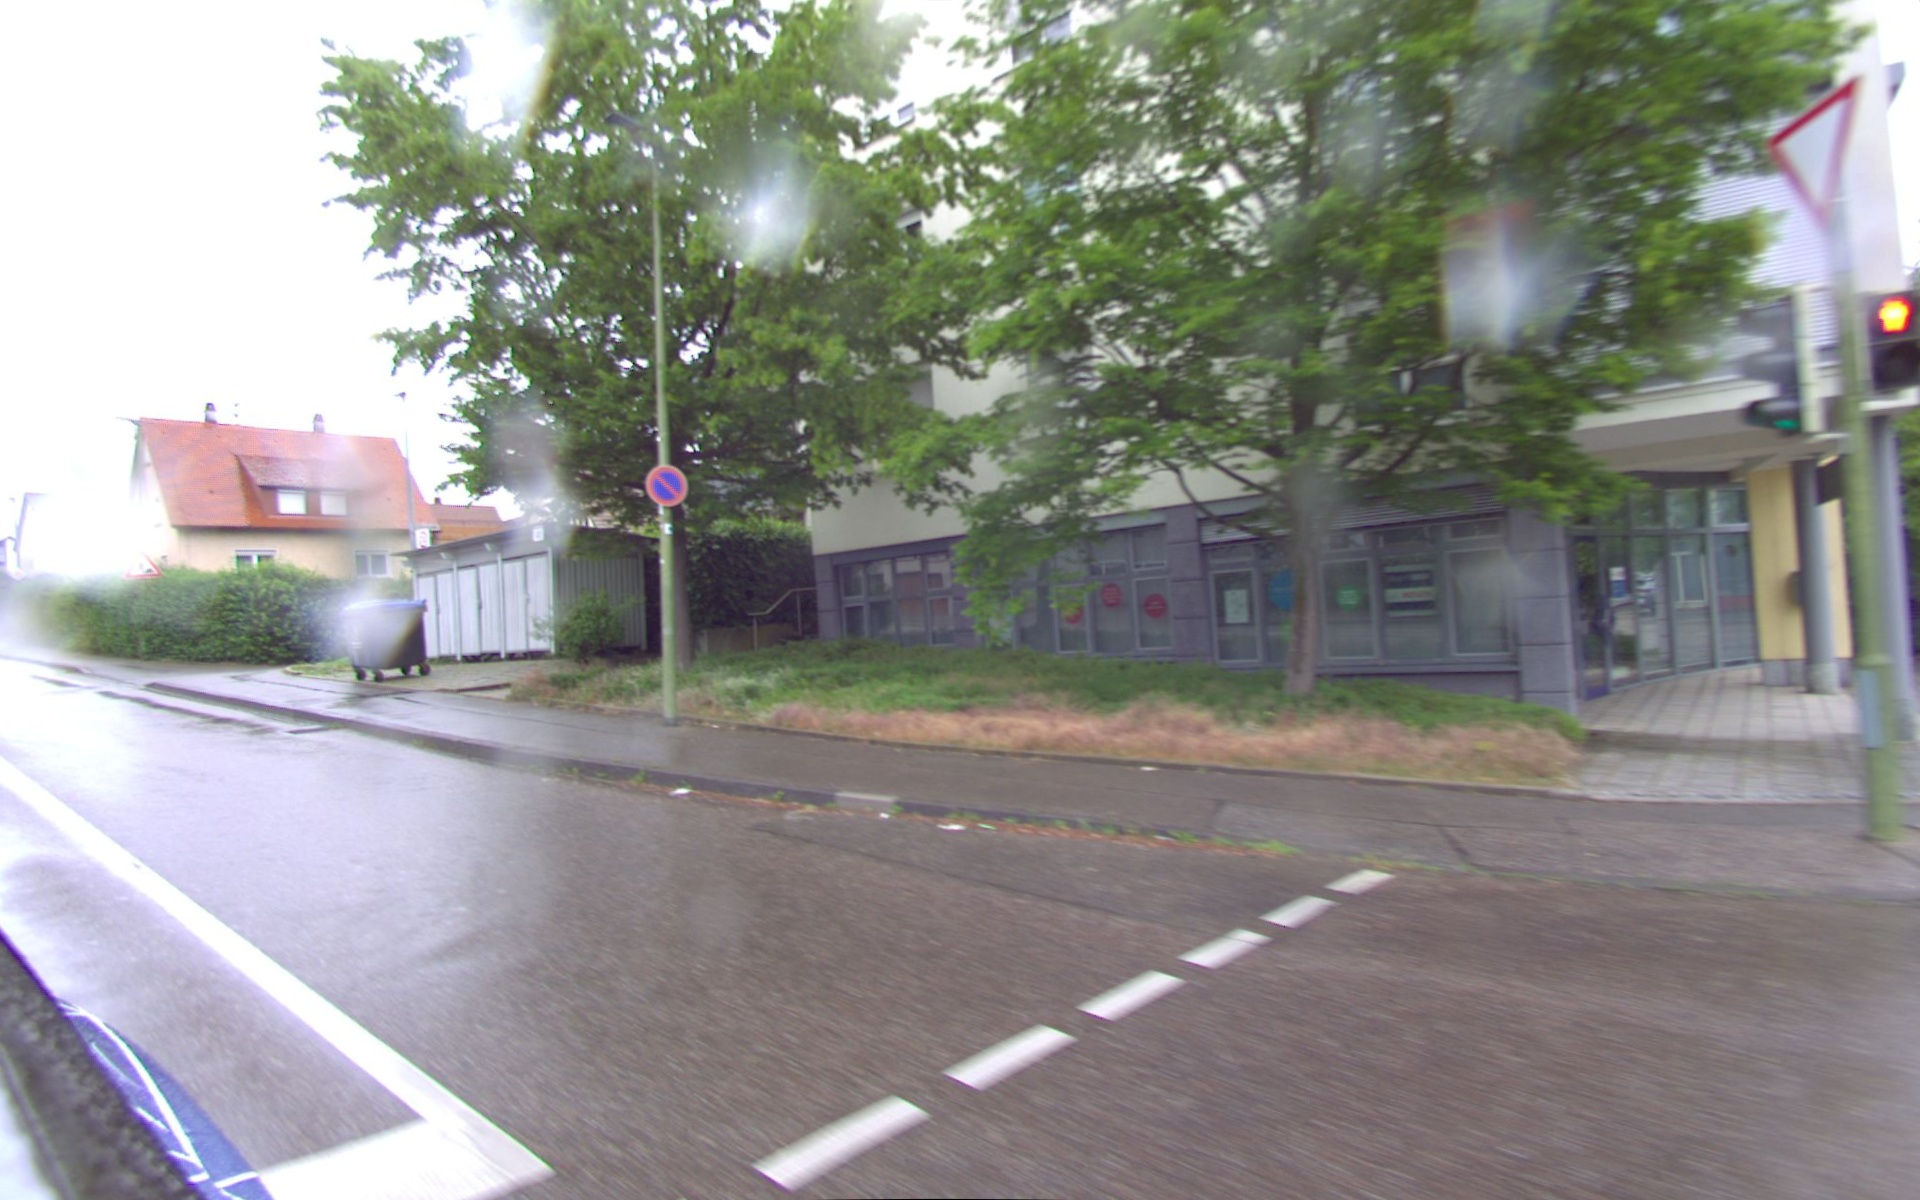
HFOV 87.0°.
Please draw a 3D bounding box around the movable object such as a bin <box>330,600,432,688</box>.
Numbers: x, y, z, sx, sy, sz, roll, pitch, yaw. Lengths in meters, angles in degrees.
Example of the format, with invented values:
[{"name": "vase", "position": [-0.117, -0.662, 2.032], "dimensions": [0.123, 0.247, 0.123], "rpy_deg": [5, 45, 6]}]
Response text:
[{"name": "movable object such as a bin", "position": [-9.766, 0.733, 17.079], "dimensions": [1.201, 1.306, 1.043], "rpy_deg": [-3, 4, 41]}]
